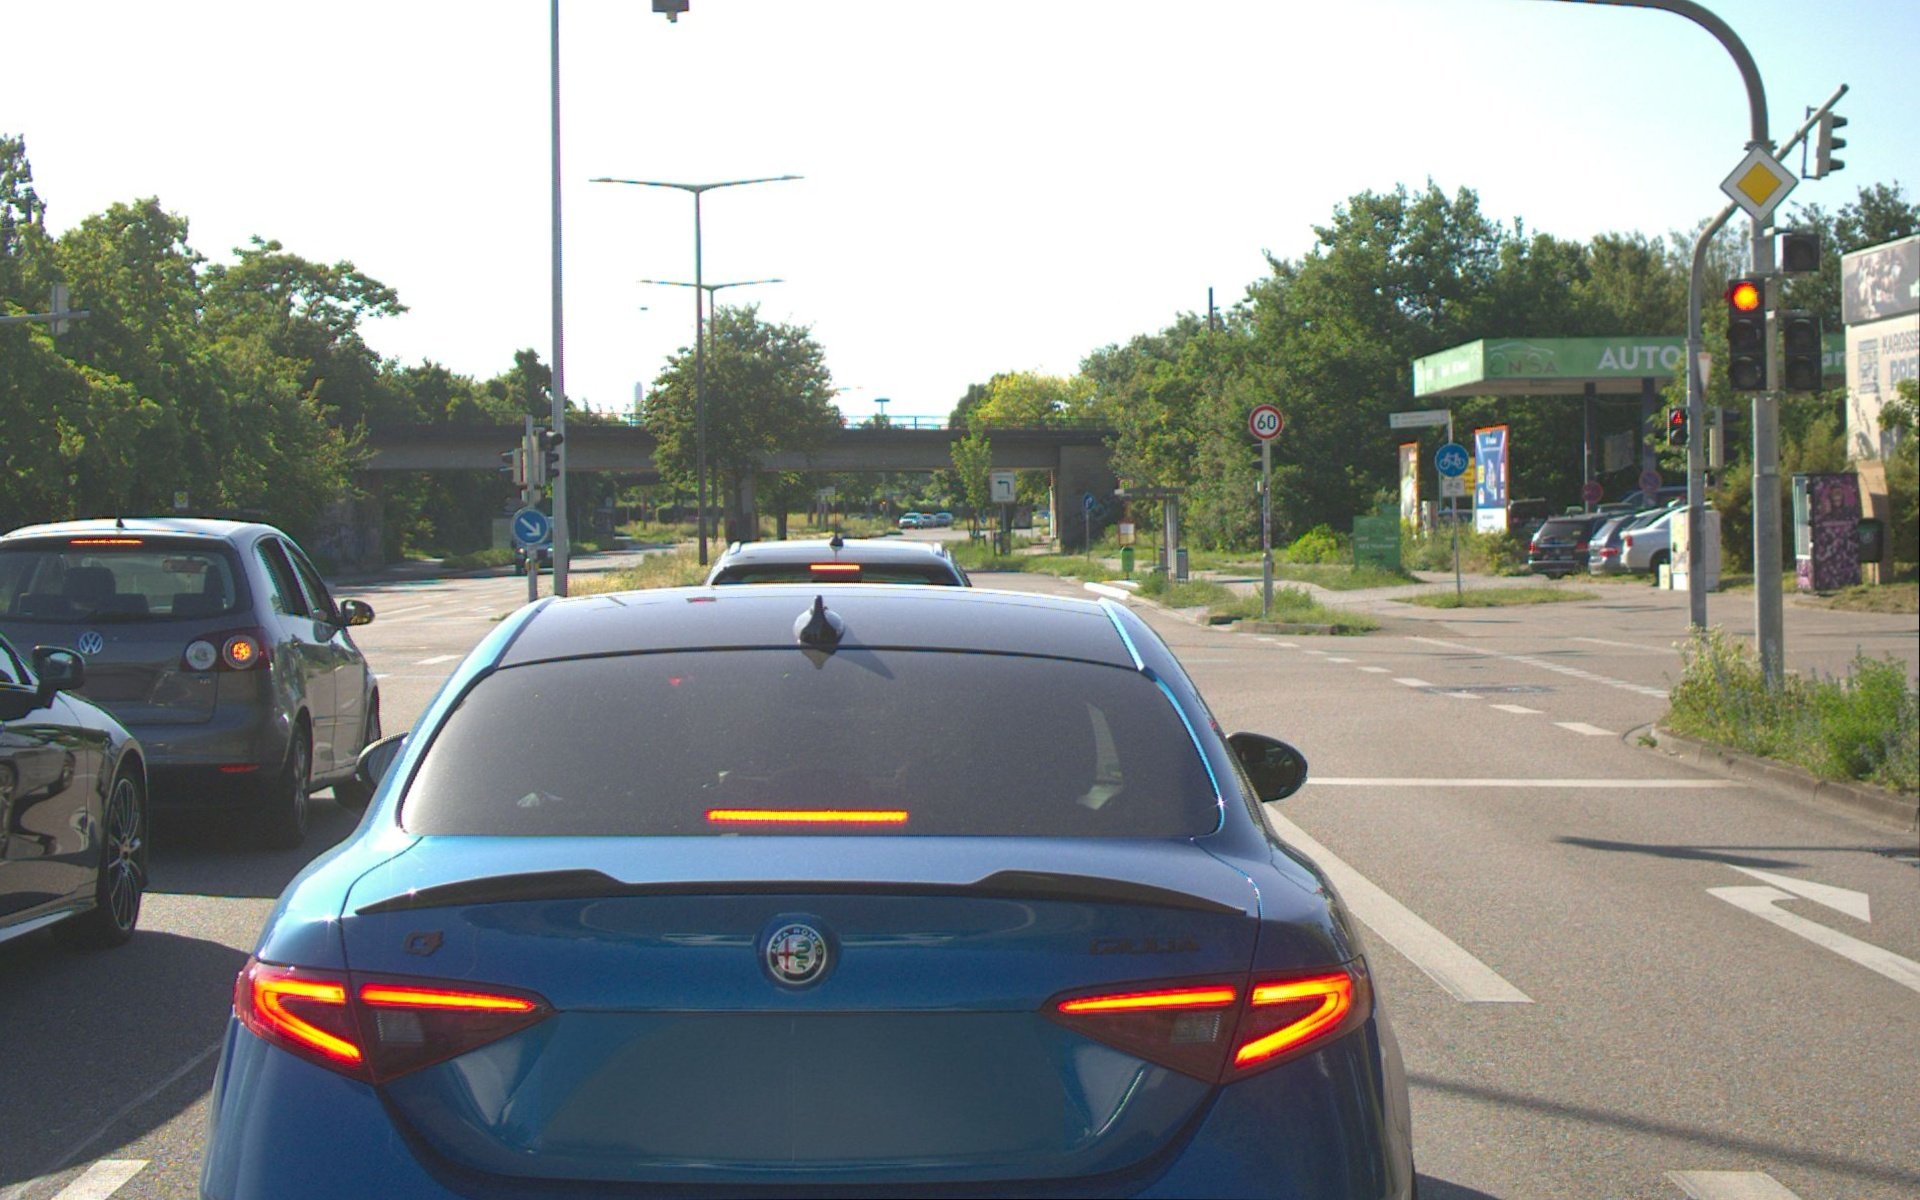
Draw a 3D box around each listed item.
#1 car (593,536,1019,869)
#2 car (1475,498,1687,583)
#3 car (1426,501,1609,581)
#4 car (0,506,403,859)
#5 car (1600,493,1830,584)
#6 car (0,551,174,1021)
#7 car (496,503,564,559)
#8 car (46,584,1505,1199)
[{"bbox_3d":[-0.699,0.414,17.065,1.866,1.445,3.932,0,1,-1],"label":"car"},{"bbox_3d":[12.816,-1.235,70.951,3.986,1.700,1.696,-1,1,-19],"label":"car"},{"bbox_3d":[12.015,-1.272,74.142,3.483,1.700,1.696,-1,1,-16],"label":"car"},{"bbox_3d":[-3.967,0.333,17.538,1.648,1.593,3.932,0,1,-1],"label":"car"},{"bbox_3d":[14.507,-1.182,66.095,3.986,1.700,1.696,-1,1,-16],"label":"car"},{"bbox_3d":[-3.805,0.572,10.627,1.768,1.409,4.461,0,1,-1],"label":"car"},{"bbox_3d":[-19.090,-3.066,152.895,2.431,2.418,5.831,0,1,-2],"label":"car"},{"bbox_3d":[-0.260,0.698,6.377,1.866,1.380,3.932,0,1,-1],"label":"car"}]
